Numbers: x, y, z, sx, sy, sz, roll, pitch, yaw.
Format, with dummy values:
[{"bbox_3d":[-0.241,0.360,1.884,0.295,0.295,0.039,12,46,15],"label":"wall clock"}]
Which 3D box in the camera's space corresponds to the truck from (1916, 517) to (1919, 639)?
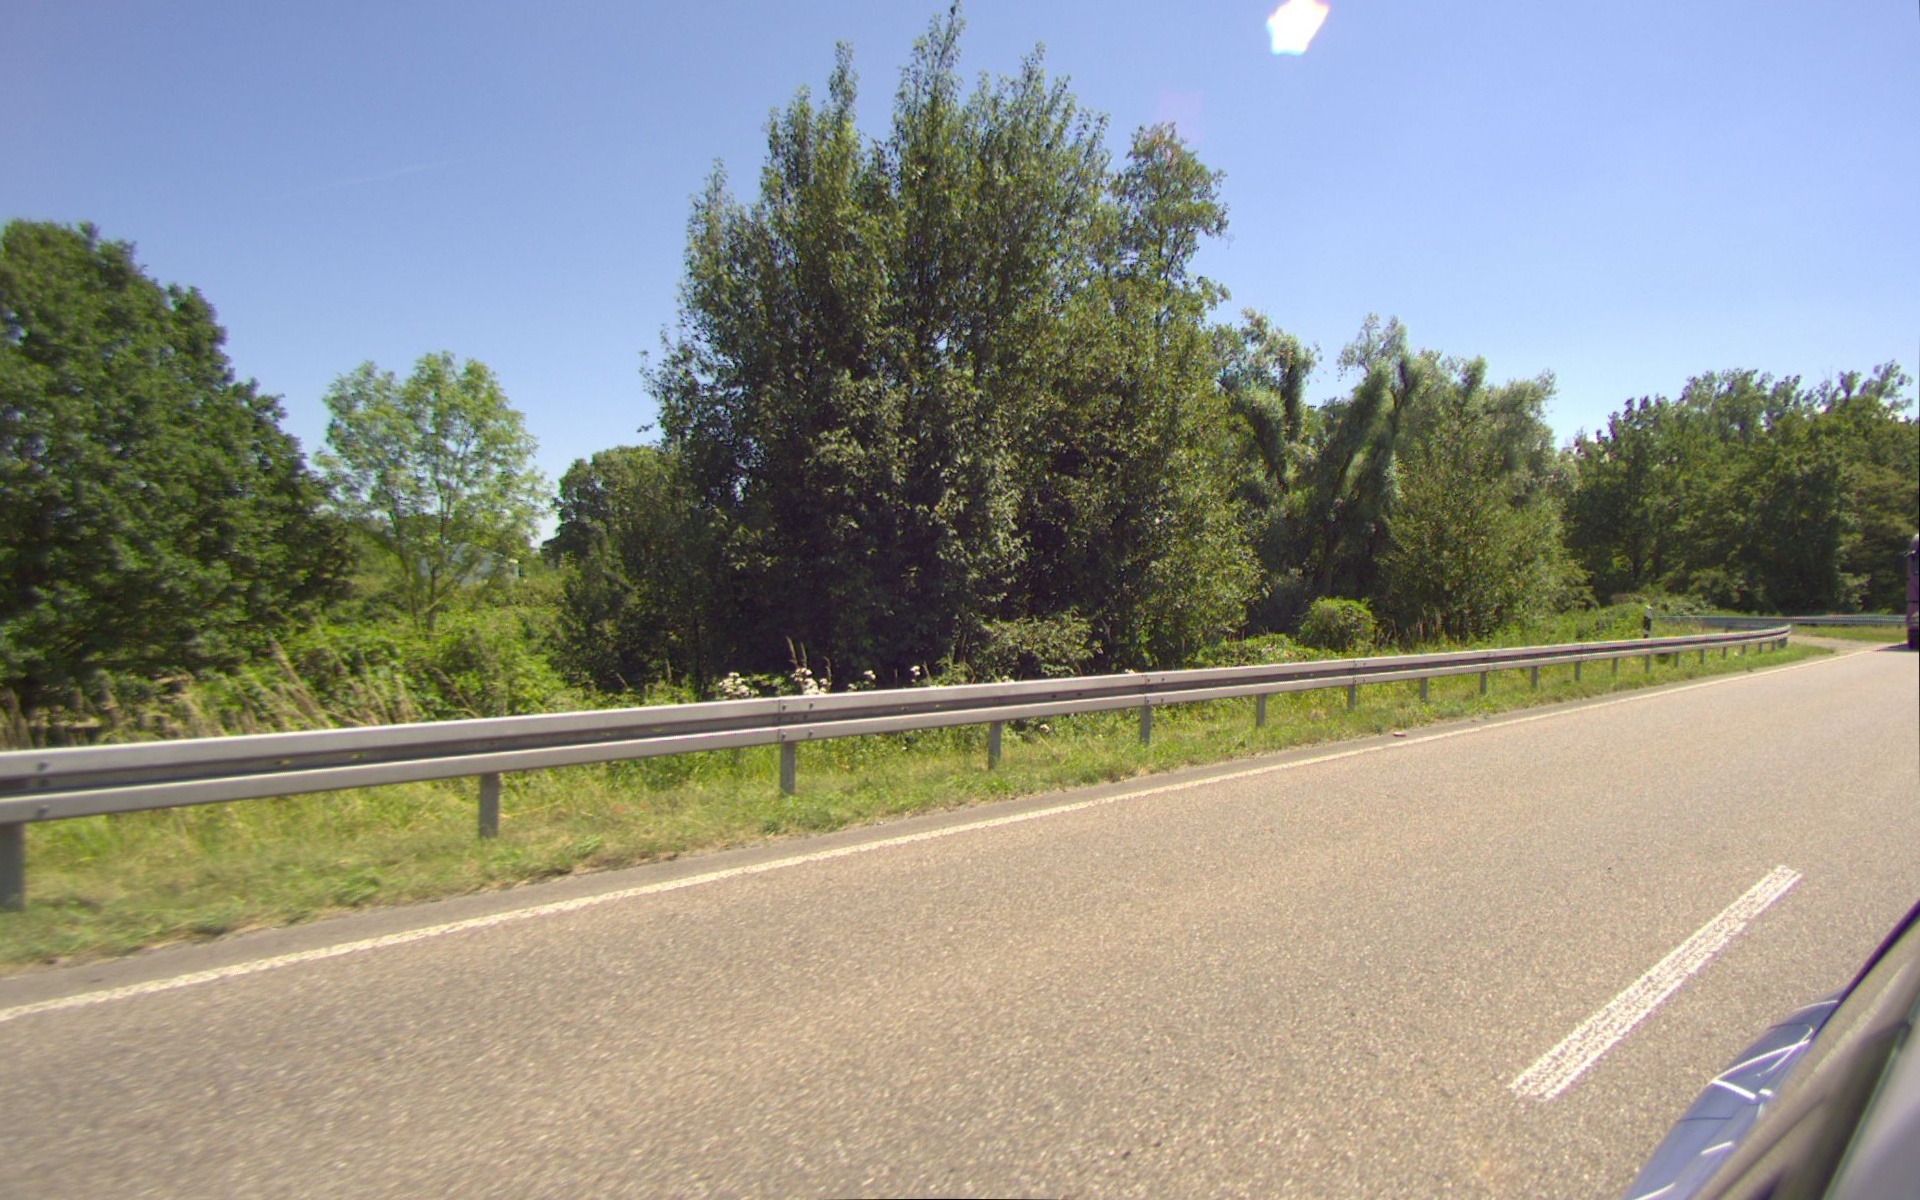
[{"bbox_3d":[32.191,-0.623,31.816,5.835,3.739,2.602,1,-1,-42],"label":"truck"}]
